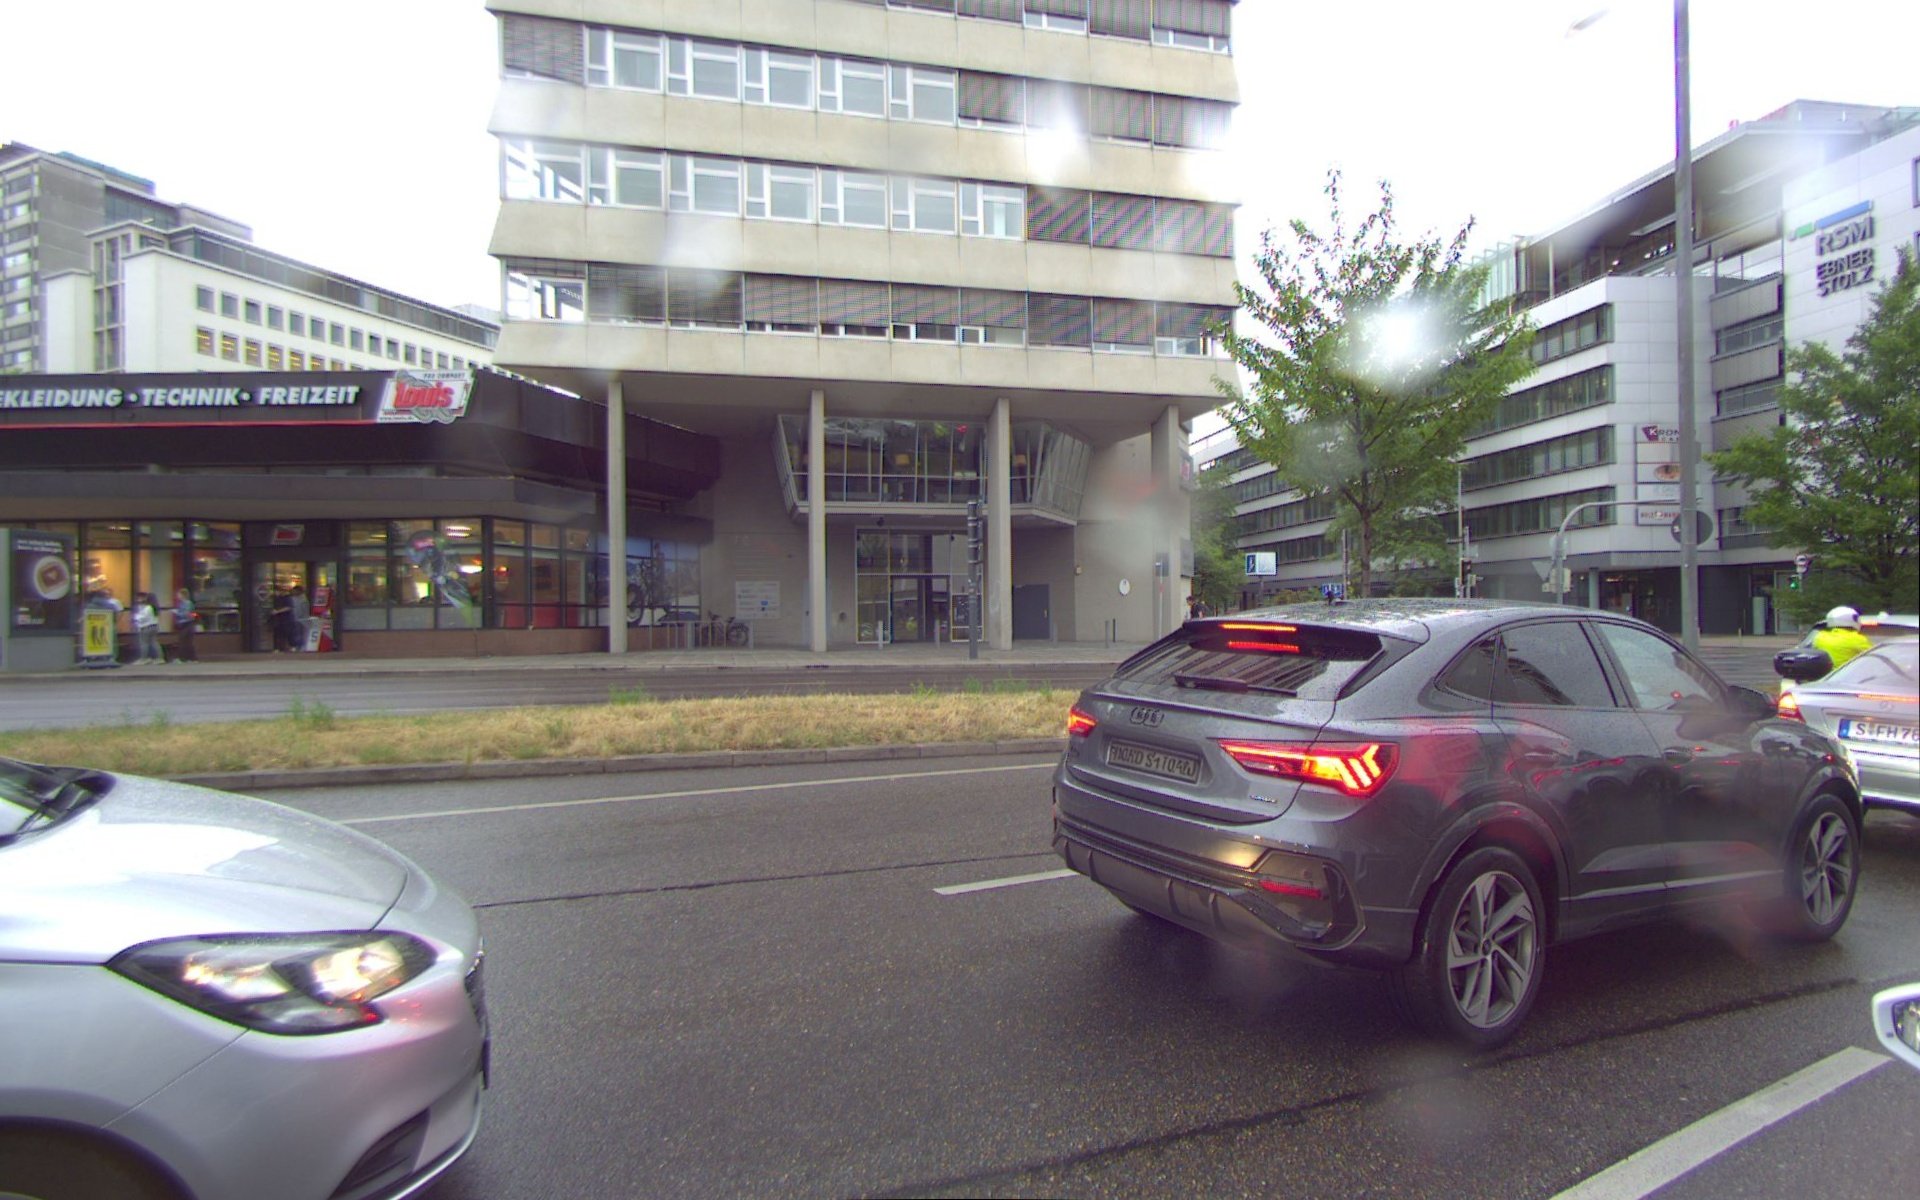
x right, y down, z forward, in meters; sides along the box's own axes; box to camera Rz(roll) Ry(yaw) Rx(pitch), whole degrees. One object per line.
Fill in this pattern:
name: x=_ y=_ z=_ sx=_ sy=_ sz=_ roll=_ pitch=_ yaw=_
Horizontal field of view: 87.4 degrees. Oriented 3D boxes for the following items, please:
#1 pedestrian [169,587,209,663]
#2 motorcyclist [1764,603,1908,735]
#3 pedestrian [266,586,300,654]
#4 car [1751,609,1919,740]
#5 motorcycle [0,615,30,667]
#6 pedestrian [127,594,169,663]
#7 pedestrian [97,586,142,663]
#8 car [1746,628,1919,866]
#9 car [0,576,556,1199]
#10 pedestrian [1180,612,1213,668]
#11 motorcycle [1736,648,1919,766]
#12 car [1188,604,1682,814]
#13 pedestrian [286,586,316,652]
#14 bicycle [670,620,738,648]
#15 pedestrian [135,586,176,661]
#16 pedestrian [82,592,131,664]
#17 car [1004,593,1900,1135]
pedestrian: x=-18.321 y=0.585 z=23.869 sx=0.548 sy=1.767 sz=0.541 roll=1 pitch=0 yaw=-9
motorcyclist: x=9.802 y=0.754 z=11.252 sx=1.102 sy=1.398 sz=0.769 roll=2 pitch=0 yaw=-21
pedestrian: x=-17.523 y=0.505 z=25.998 sx=0.488 sy=1.741 sz=0.525 roll=1 pitch=0 yaw=3
car: x=12.633 y=0.935 z=13.206 sx=3.940 sy=1.506 sz=1.704 roll=2 pitch=0 yaw=-21
motorcycle: x=-23.530 y=0.990 z=24.189 sx=0.353 sy=1.249 sz=1.669 roll=1 pitch=0 yaw=20
pedestrian: x=-18.900 y=0.664 z=23.390 sx=0.548 sy=1.591 sz=0.541 roll=1 pitch=0 yaw=-9
pedestrian: x=-19.812 y=0.572 z=23.686 sx=0.548 sy=1.767 sz=0.614 roll=1 pitch=0 yaw=-9
car: x=7.677 y=0.969 z=7.072 sx=4.050 sy=1.426 sz=1.567 roll=2 pitch=0 yaw=-22
car: x=-2.867 y=0.667 z=1.717 sx=3.831 sy=1.455 sz=1.639 roll=1 pitch=0 yaw=-32
pedestrian: x=7.219 y=1.213 z=30.672 sx=0.751 sy=1.706 sz=0.677 roll=1 pitch=0 yaw=-16
motorcycle: x=9.803 y=1.168 z=11.274 sx=1.998 sy=1.200 sz=0.799 roll=2 pitch=0 yaw=-21
car: x=4.586 y=0.852 z=9.506 sx=4.720 sy=1.554 sz=1.857 roll=1 pitch=0 yaw=-30
pedestrian: x=-17.672 y=0.504 z=26.944 sx=0.436 sy=1.741 sz=0.509 roll=1 pitch=0 yaw=3
bicycle: x=-8.595 y=1.145 z=33.766 sx=2.165 sy=0.871 sz=0.456 roll=2 pitch=0 yaw=-31
pedestrian: x=-19.226 y=0.570 z=24.016 sx=0.548 sy=1.767 sz=0.541 roll=1 pitch=0 yaw=-9
pedestrian: x=-19.442 y=0.633 z=22.885 sx=0.601 sy=1.633 sz=0.614 roll=1 pitch=0 yaw=-9
car: x=2.422 y=0.779 z=4.637 sx=4.220 sy=1.542 sz=1.640 roll=1 pitch=0 yaw=-30
